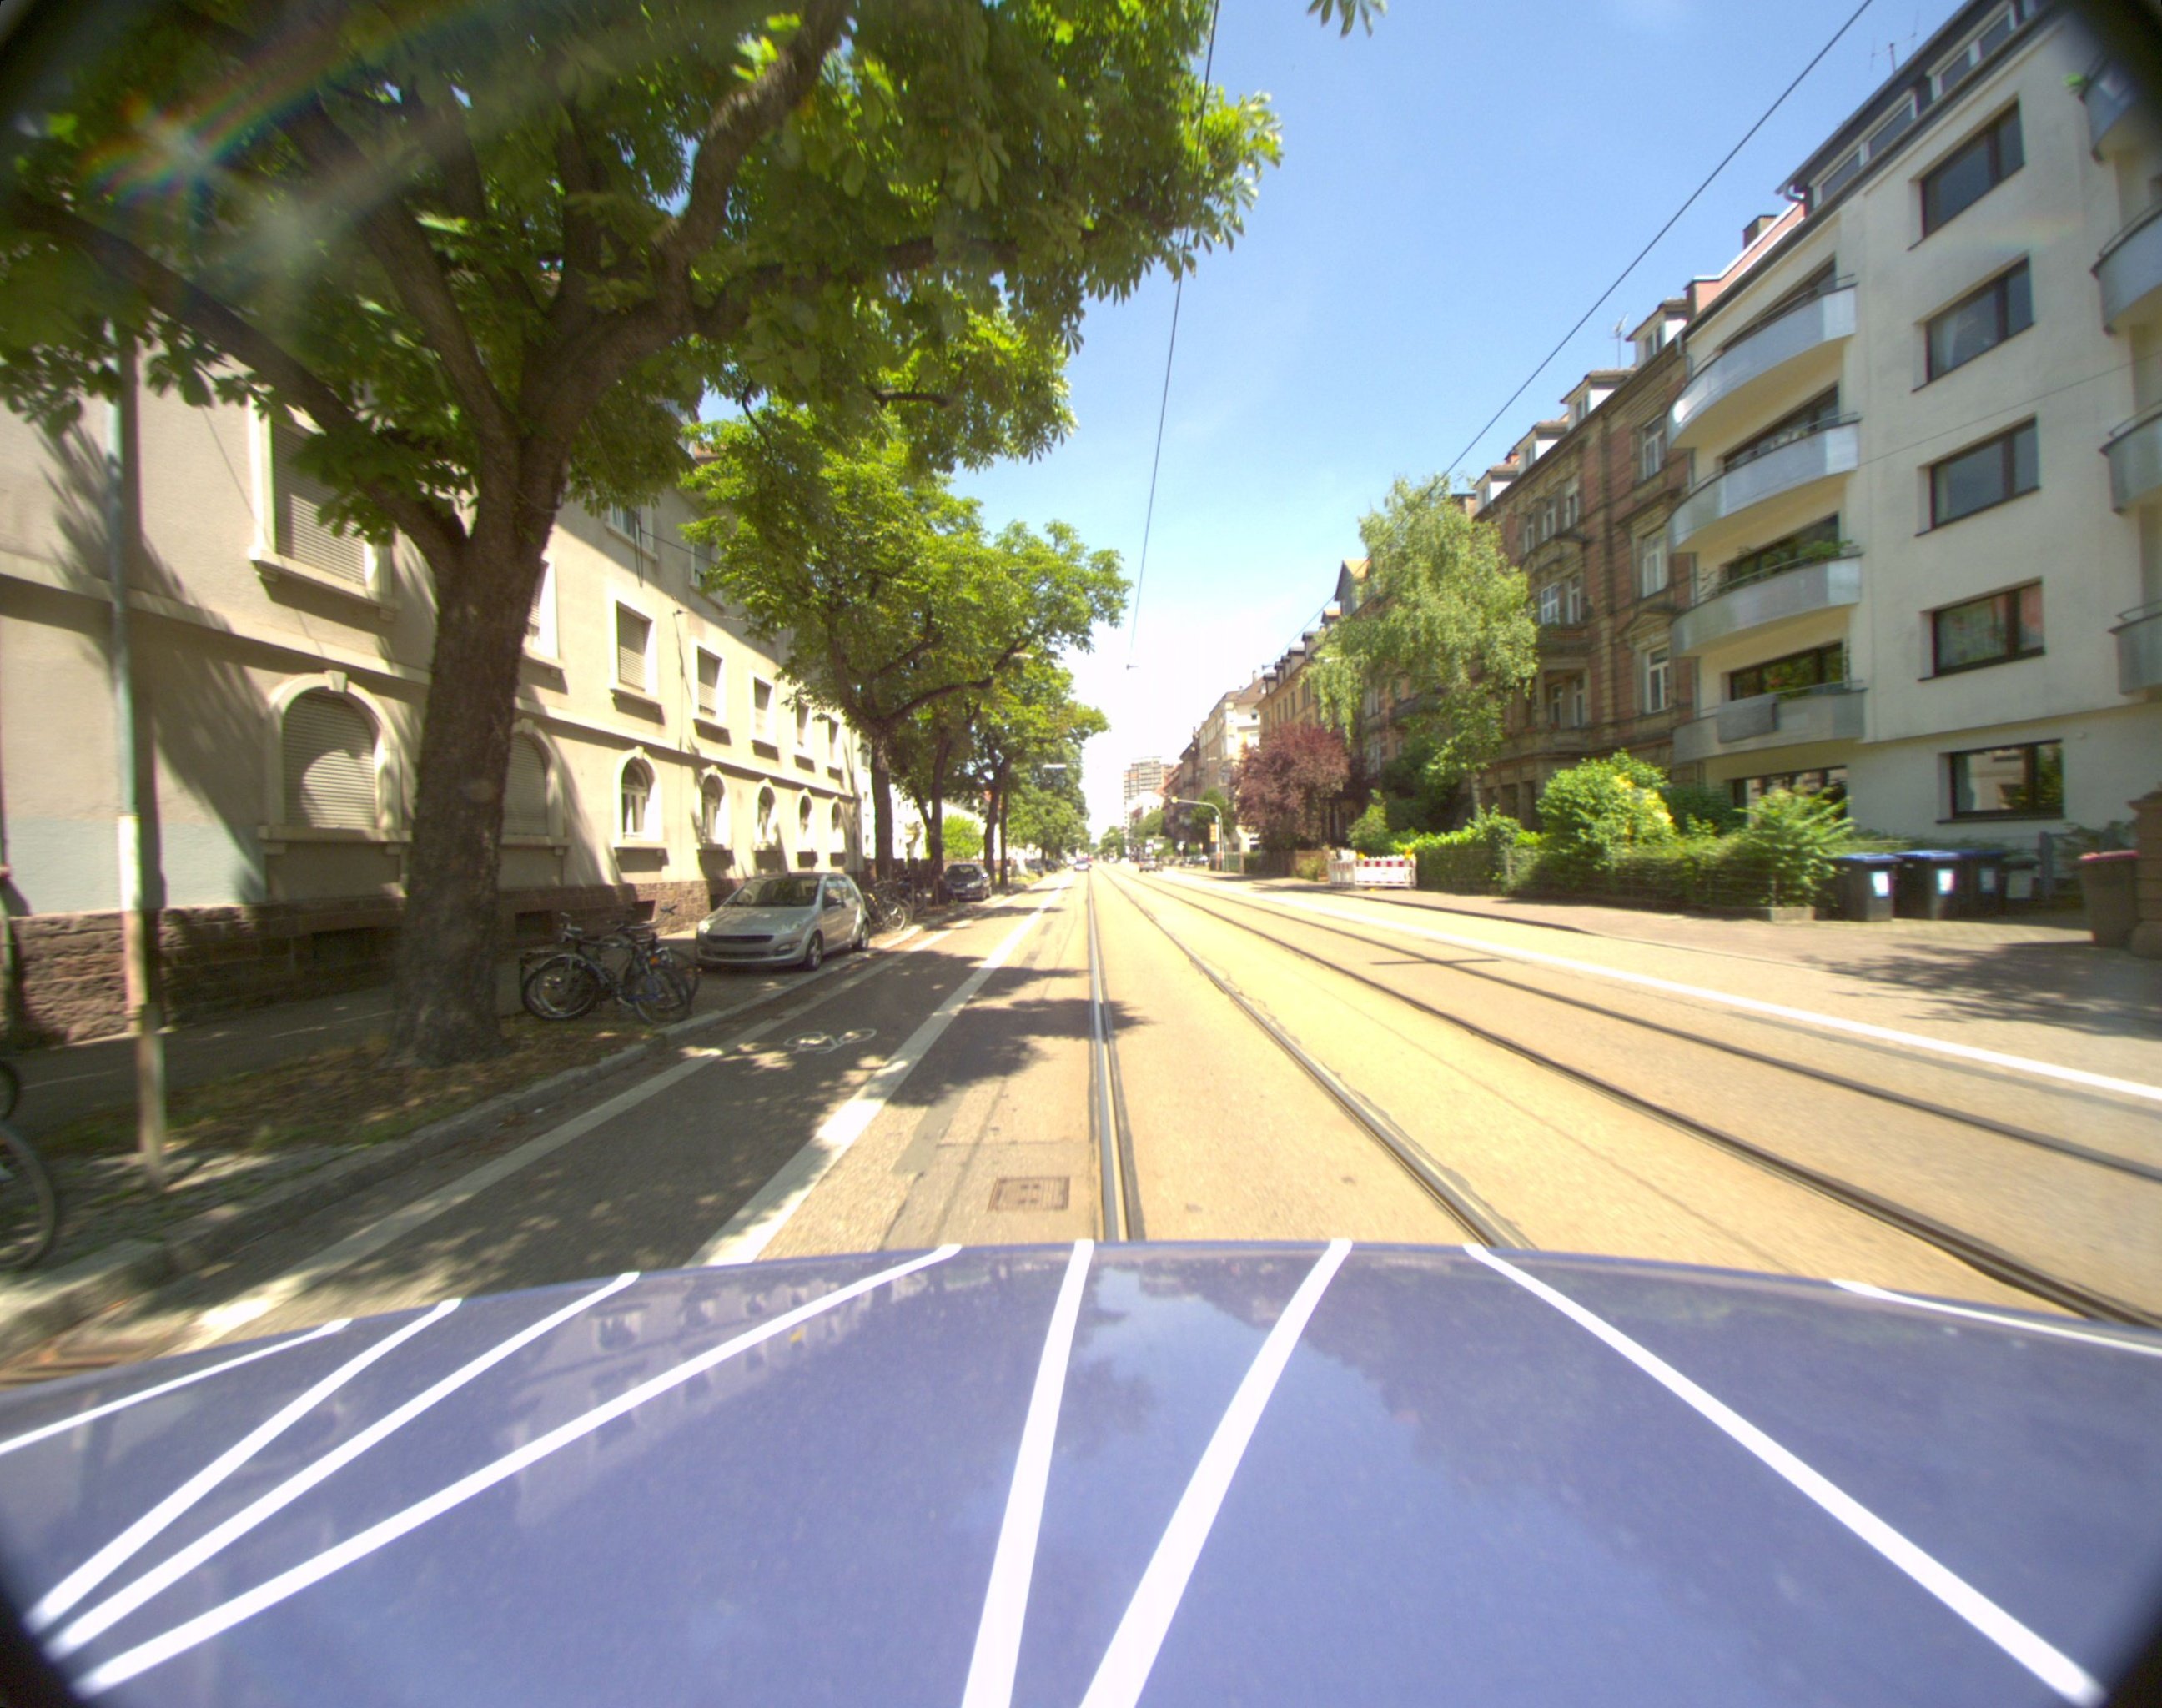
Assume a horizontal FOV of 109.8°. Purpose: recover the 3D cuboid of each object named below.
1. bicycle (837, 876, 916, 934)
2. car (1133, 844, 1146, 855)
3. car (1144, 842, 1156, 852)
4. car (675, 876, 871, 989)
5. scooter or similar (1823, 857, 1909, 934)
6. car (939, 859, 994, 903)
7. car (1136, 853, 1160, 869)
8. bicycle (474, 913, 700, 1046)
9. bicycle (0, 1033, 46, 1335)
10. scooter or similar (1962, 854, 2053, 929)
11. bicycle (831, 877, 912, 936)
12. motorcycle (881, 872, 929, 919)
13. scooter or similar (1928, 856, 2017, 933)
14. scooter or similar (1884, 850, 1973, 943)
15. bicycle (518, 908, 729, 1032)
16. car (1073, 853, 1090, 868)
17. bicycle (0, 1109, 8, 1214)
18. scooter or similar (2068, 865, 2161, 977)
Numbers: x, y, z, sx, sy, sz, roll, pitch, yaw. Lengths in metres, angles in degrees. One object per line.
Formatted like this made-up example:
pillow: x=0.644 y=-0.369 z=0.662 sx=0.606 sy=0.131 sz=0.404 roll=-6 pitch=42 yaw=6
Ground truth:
bicycle: x=-4.529 y=1.134 z=16.861 sx=1.623 sy=1.193 sz=0.305 roll=-2 pitch=1 yaw=2
car: x=10.045 y=-0.836 z=130.400 sx=1.998 sy=1.717 sz=3.871 roll=-2 pitch=1 yaw=0
car: x=10.075 y=-0.971 z=111.245 sx=1.493 sy=1.372 sz=3.630 roll=-2 pitch=1 yaw=1
car: x=-4.708 y=1.121 z=12.184 sx=1.596 sy=1.444 sz=3.632 roll=-1 pitch=0 yaw=1
scooter or similar: x=12.389 y=0.639 z=12.007 sx=0.617 sy=1.151 sz=0.695 roll=-2 pitch=0 yaw=-9
car: x=-4.515 y=1.022 z=30.447 sx=1.539 sy=1.535 sz=4.000 roll=-2 pitch=1 yaw=1
car: x=6.531 y=0.663 z=74.355 sx=1.998 sy=1.467 sz=3.999 roll=-2 pitch=1 yaw=0
bicycle: x=-4.800 y=1.211 z=7.391 sx=2.037 sy=1.193 sz=0.445 roll=-2 pitch=1 yaw=10
bicycle: x=-4.457 y=1.208 z=2.705 sx=1.169 sy=1.057 sz=0.280 roll=-2 pitch=1 yaw=3
scooter or similar: x=14.688 y=0.577 z=12.054 sx=0.617 sy=1.151 sz=0.694 roll=-1 pitch=0 yaw=-9
bicycle: x=-4.543 y=1.132 z=16.507 sx=1.623 sy=1.193 sz=0.305 roll=-2 pitch=1 yaw=2
motorcycle: x=-5.061 y=1.163 z=21.959 sx=0.623 sy=1.190 sz=2.219 roll=-2 pitch=1 yaw=5
scooter or similar: x=13.991 y=0.617 z=11.939 sx=0.617 sy=1.151 sz=0.694 roll=-1 pitch=0 yaw=-9
scooter or similar: x=13.234 y=0.638 z=11.882 sx=0.617 sy=1.391 sz=0.694 roll=-2 pitch=1 yaw=-9
bicycle: x=-4.744 y=1.200 z=7.897 sx=2.037 sy=1.193 sz=0.445 roll=-2 pitch=1 yaw=10
car: x=0.072 y=0.708 z=88.192 sx=1.893 sy=1.561 sz=4.036 roll=-2 pitch=1 yaw=0
bicycle: x=-5.457 y=1.258 z=3.110 sx=0.284 sy=1.193 sz=1.625 roll=-3 pitch=1 yaw=-19
scooter or similar: x=11.599 y=0.710 z=8.335 sx=0.616 sy=1.151 sz=0.695 roll=-2 pitch=0 yaw=-2
